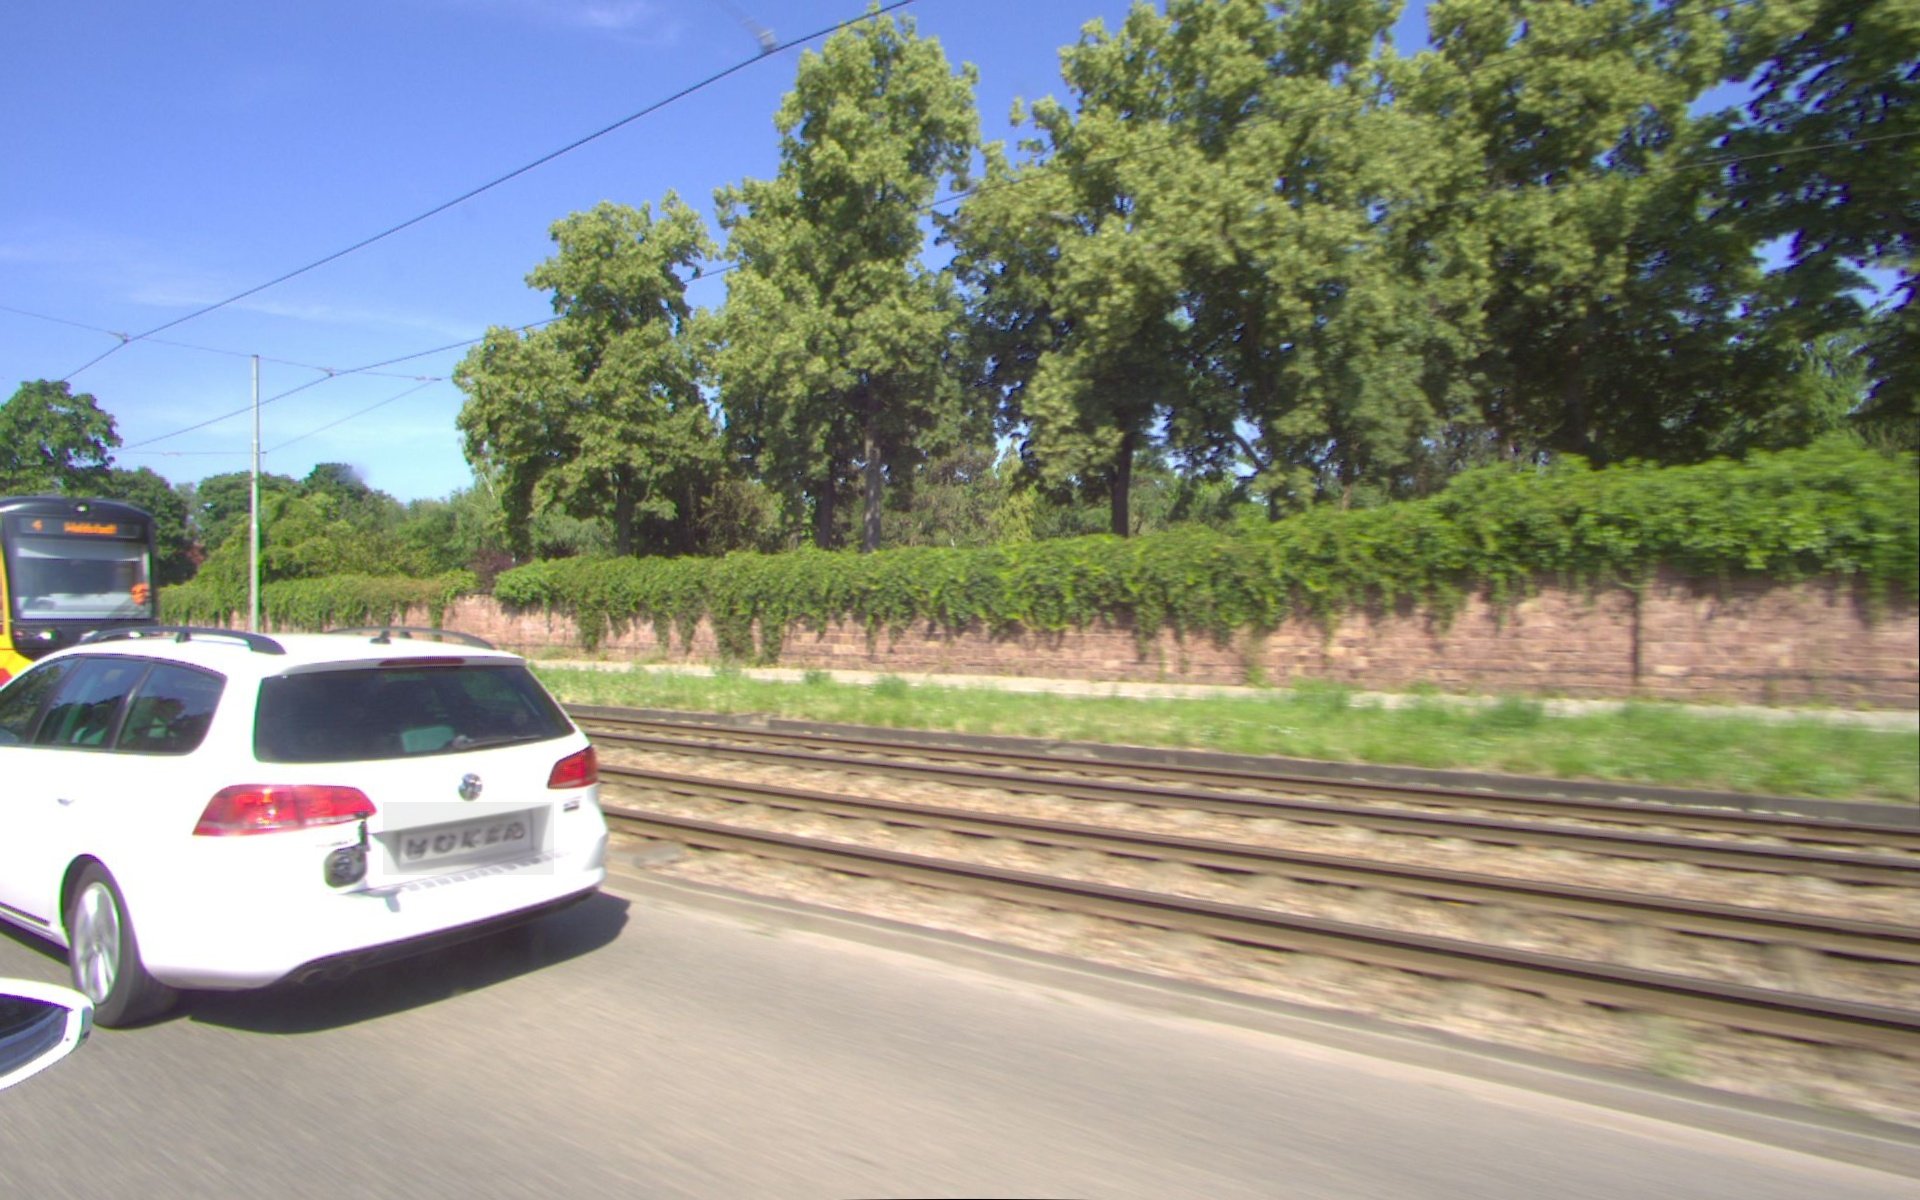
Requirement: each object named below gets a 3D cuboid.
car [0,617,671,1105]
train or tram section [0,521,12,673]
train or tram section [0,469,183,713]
[{"bbox_3d":[-3.602,0.835,4.967,4.394,1.470,1.688,0,-1,32],"label":"car"},{"bbox_3d":[-29.884,-0.044,28.331,13.142,3.796,2.502,0,0,38],"label":"train or tram section"},{"bbox_3d":[-19.524,-0.085,20.362,13.137,3.796,2.503,0,0,37],"label":"train or tram section"}]
